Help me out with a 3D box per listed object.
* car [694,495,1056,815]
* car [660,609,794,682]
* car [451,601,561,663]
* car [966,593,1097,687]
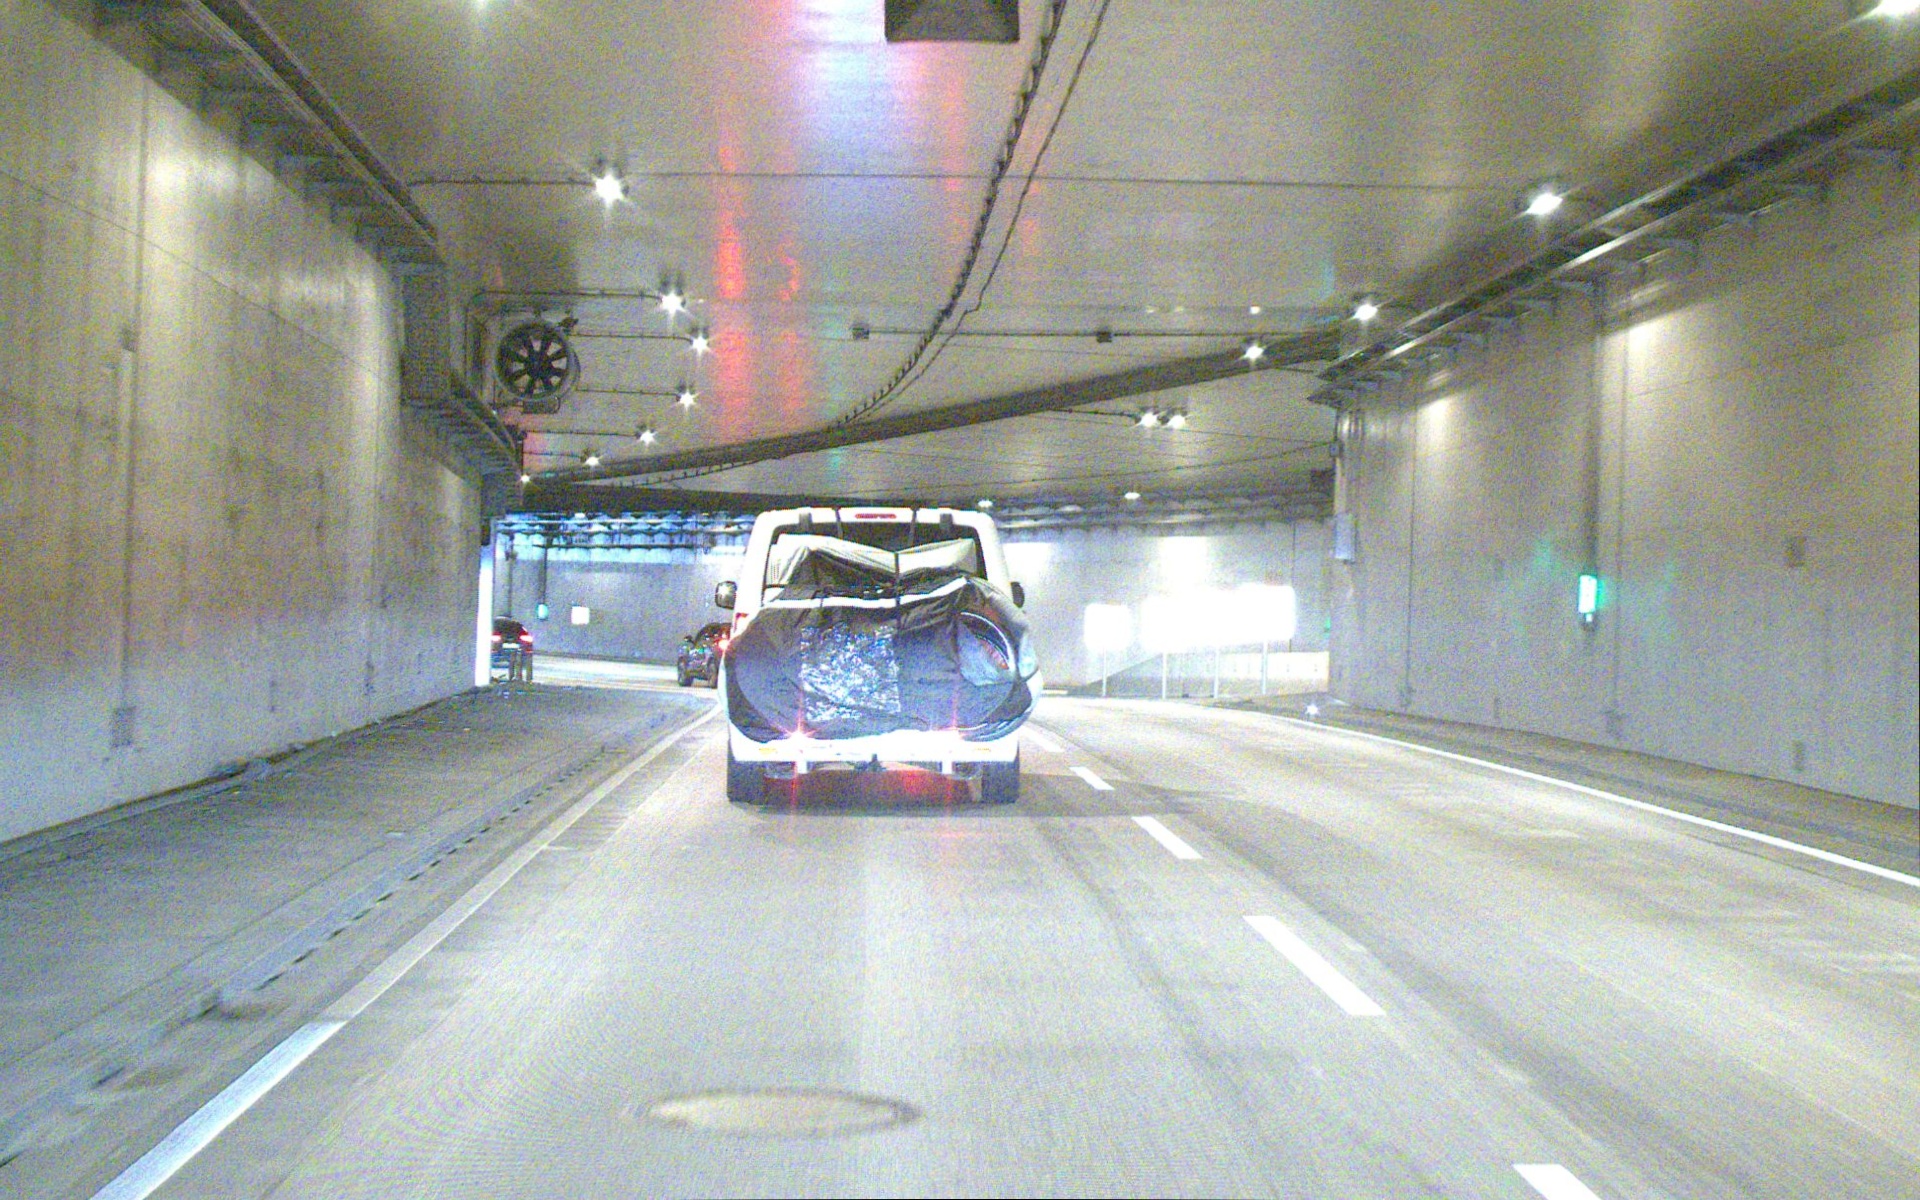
[{"bbox_3d":[-0.695,0.314,22.666,1.993,1.841,5.302,1,0,-5],"label":"car"},{"bbox_3d":[-5.670,1.121,83.244,1.822,1.625,3.844,3,-3,-26],"label":"car"},{"bbox_3d":[-13.396,0.936,101.299,1.822,1.625,3.844,3,-1,-29],"label":"car"},{"bbox_3d":[1.259,0.695,61.835,1.602,1.624,3.356,0,0,-12],"label":"car"}]
